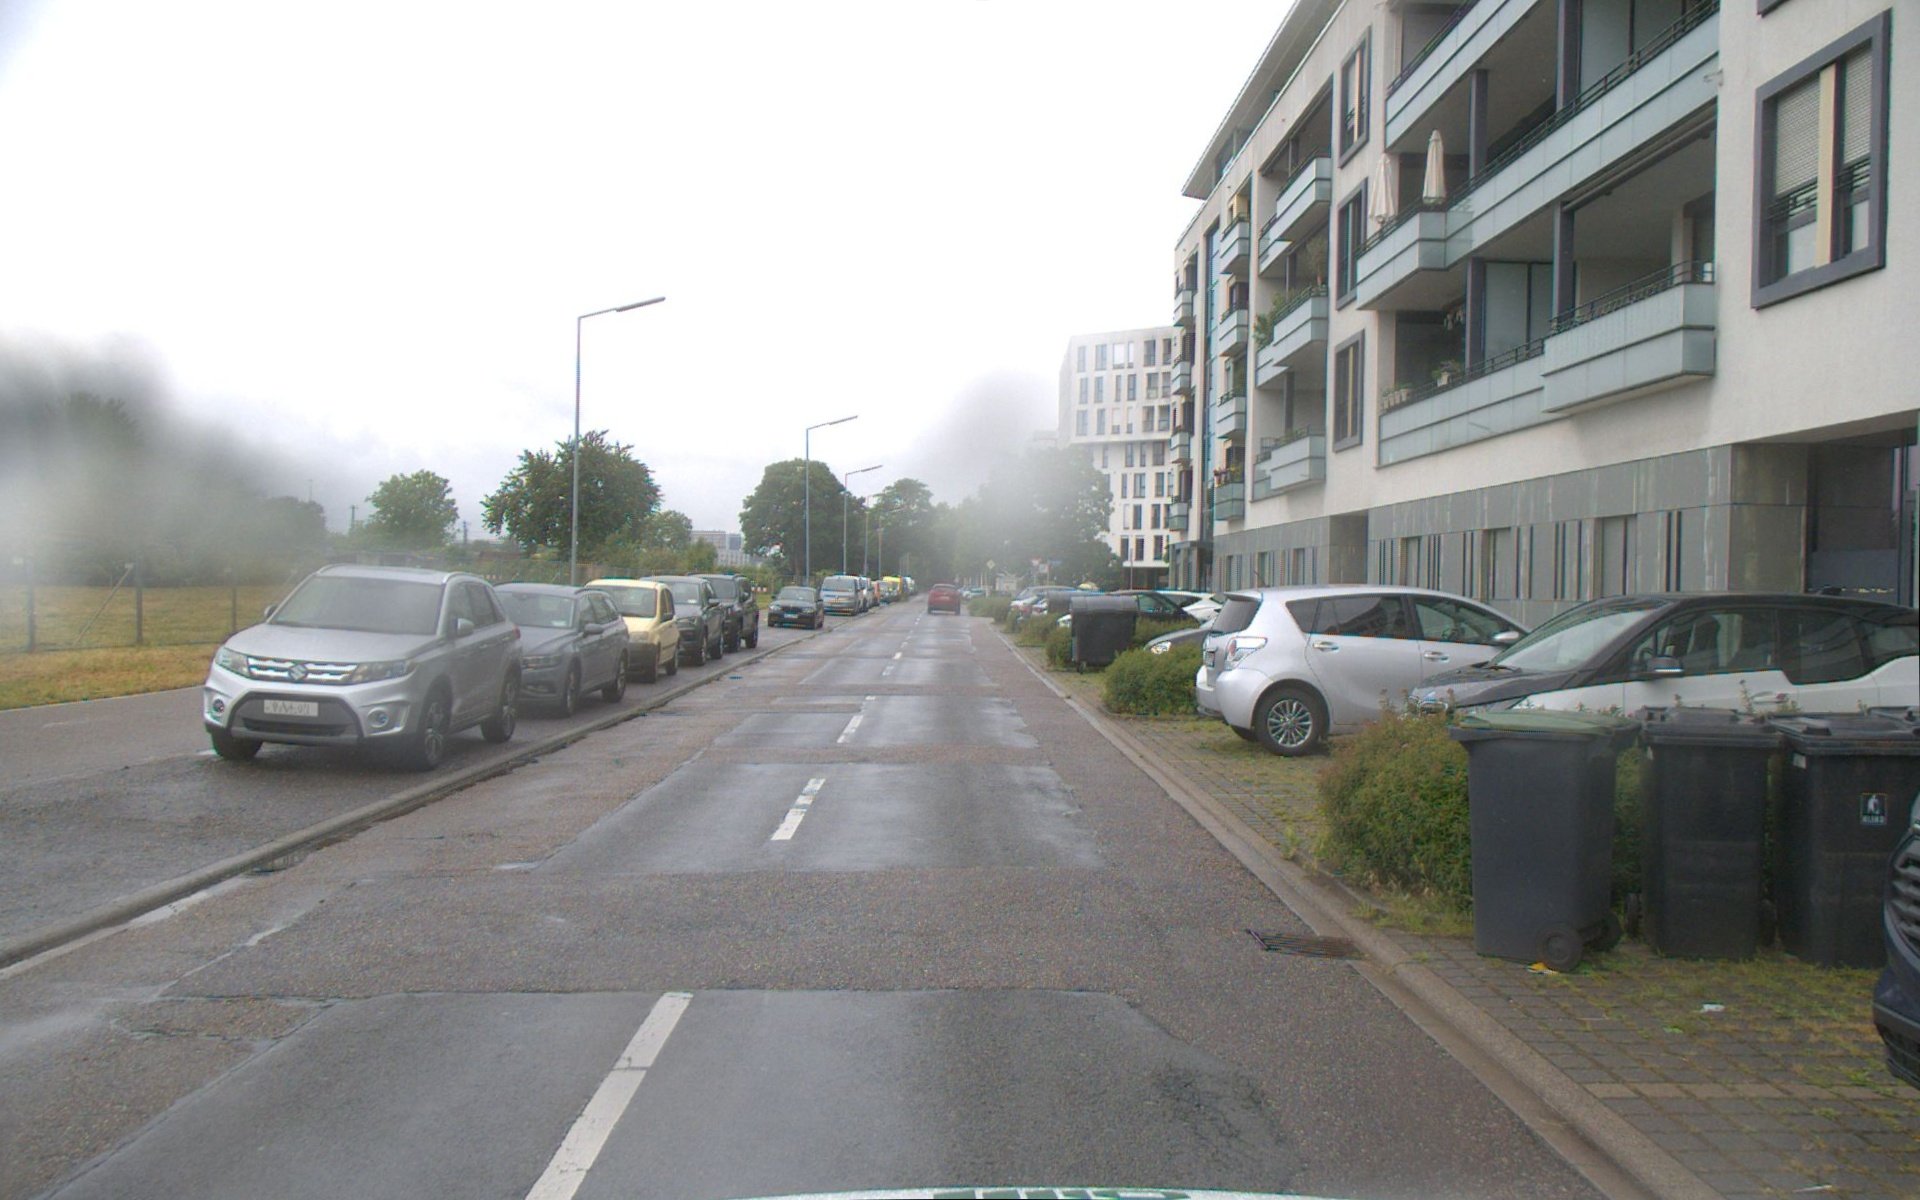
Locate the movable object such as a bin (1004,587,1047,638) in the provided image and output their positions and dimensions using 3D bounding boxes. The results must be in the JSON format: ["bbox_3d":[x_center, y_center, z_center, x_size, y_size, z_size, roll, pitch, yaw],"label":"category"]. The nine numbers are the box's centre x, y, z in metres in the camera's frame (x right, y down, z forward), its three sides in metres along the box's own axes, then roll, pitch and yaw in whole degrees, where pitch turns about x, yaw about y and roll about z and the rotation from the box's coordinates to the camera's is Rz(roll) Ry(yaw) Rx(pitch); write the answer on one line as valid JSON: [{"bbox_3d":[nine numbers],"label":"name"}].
[{"bbox_3d":[2.021,0.389,51.393,1.274,1.553,1.581,0,0,-1],"label":"movable object such as a bin"}]

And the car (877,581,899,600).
[{"bbox_3d":[-7.051,-0.914,162.360,1.954,1.621,5.016,4,0,-2],"label":"car"}]

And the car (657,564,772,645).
[{"bbox_3d":[-5.606,0.065,38.367,1.716,1.722,4.882,2,1,2],"label":"car"}]

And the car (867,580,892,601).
[{"bbox_3d":[-6.671,-0.817,137.237,1.767,1.588,4.032,4,1,-1],"label":"car"}]

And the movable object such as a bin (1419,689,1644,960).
[{"bbox_3d":[2.540,0.959,7.355,0.801,1.065,0.538,2,0,38],"label":"movable object such as a bin"}]

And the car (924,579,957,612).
[{"bbox_3d":[-1.111,-0.269,92.517,1.721,1.735,3.999,1,1,-2],"label":"car"}]

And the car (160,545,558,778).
[{"bbox_3d":[-5.166,0.443,15.062,1.816,1.635,4.987,4,0,-2],"label":"car"}]

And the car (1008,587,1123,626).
[{"bbox_3d":[4.051,0.237,64.089,4.320,1.429,1.910,-1,0,-1],"label":"car"}]

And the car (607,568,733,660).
[{"bbox_3d":[-5.539,0.223,32.073,1.717,1.618,4.133,2,1,-1],"label":"car"}]

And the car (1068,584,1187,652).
[{"bbox_3d":[3.926,0.405,38.825,2.573,1.533,1.206,-1,1,-7],"label":"car"}]

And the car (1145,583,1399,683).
[{"bbox_3d":[4.965,0.504,26.665,3.766,1.517,1.763,0,1,0],"label":"car"}]

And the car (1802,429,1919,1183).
[{"bbox_3d":[4.973,0.515,3.938,4.947,1.962,1.982,-1,0,-1],"label":"car"}]

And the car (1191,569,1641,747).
[{"bbox_3d":[4.566,0.571,16.936,4.123,1.673,1.686,1,0,-2],"label":"car"}]

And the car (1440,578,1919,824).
[{"bbox_3d":[5.620,0.621,11.384,4.094,1.509,1.749,-1,0,-4],"label":"car"}]

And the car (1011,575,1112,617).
[{"bbox_3d":[4.213,-0.161,68.989,4.007,1.652,1.965,-1,0,-2],"label":"car"}]

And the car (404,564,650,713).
[{"bbox_3d":[-5.275,0.433,20.826,1.800,1.555,4.670,3,0,0],"label":"car"}]

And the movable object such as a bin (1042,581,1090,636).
[{"bbox_3d":[3.078,0.233,48.293,1.274,1.553,1.581,1,0,-1],"label":"movable object such as a bin"}]

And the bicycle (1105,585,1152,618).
[{"bbox_3d":[8.094,0.069,79.311,2.142,1.549,0.631,1,0,20],"label":"bicycle"}]

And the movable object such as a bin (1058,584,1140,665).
[{"bbox_3d":[2.696,0.464,32.275,1.465,1.519,1.155,-1,0,-1],"label":"movable object such as a bin"}]

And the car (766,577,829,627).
[{"bbox_3d":[-5.800,0.053,59.533,1.810,1.588,4.152,4,0,-1],"label":"car"}]

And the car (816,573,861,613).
[{"bbox_3d":[-6.118,-0.371,83.975,1.916,1.935,4.994,2,0,-1],"label":"car"}]

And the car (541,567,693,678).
[{"bbox_3d":[-5.481,0.335,26.874,1.690,1.602,4.209,2,0,-2],"label":"car"}]

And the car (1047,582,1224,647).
[{"bbox_3d":[4.391,0.357,41.844,4.258,1.557,1.893,-1,0,-1],"label":"car"}]

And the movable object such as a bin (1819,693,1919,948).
[{"bbox_3d":[4.451,0.995,7.644,0.527,1.065,0.817,1,0,1],"label":"movable object such as a bin"}]
